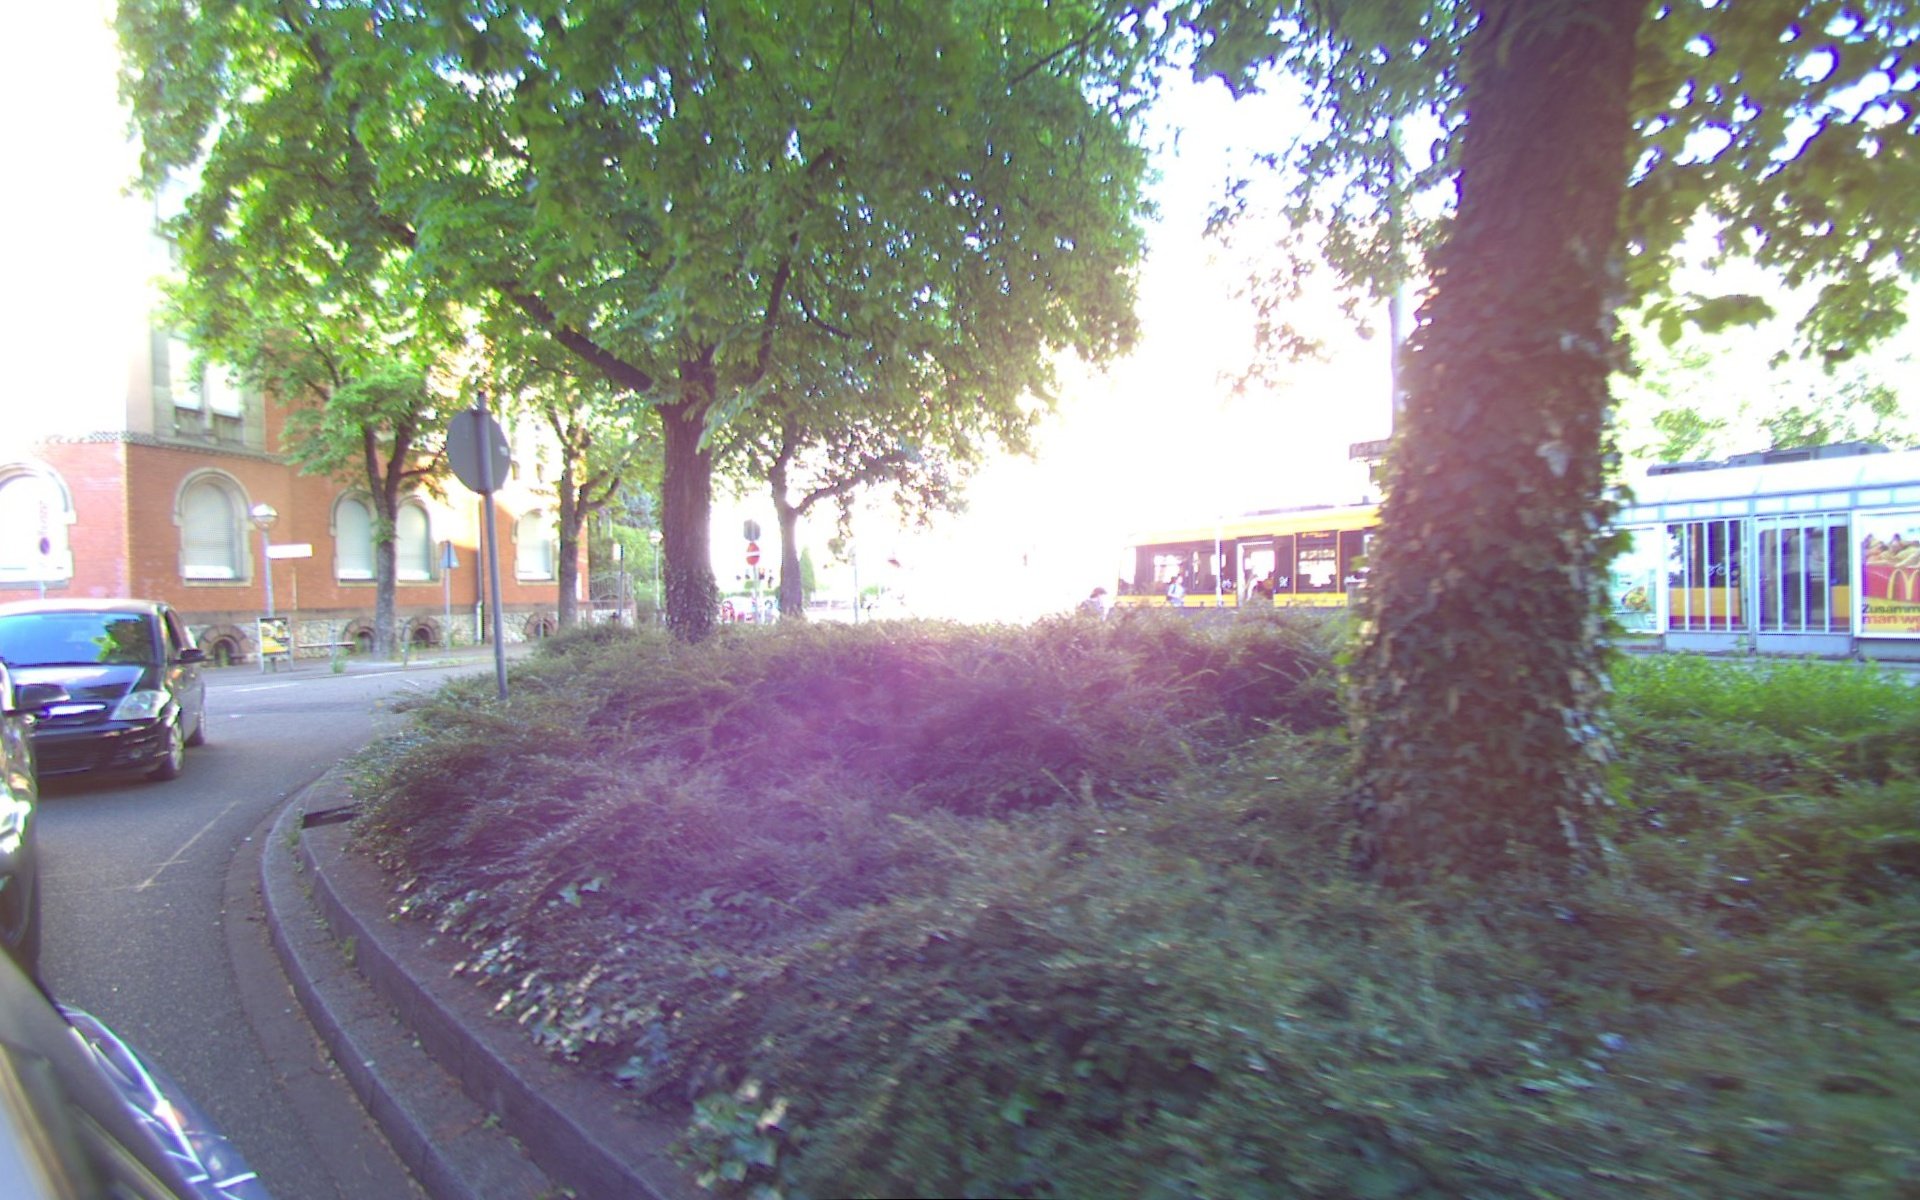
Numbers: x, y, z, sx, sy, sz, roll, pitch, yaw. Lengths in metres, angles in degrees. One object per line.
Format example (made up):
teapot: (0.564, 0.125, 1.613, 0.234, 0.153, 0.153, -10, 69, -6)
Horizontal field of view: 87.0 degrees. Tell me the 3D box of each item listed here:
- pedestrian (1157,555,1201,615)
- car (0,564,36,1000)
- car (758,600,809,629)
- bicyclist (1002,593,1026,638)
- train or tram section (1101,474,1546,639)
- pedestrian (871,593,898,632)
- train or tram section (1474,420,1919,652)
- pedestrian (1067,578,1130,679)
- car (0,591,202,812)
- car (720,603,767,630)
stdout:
pedestrian: (6.252, -0.426, 28.928, 0.713, 1.647, 0.907, -4, 2, -30)
car: (-5.563, 0.703, 4.667, 1.768, 1.590, 4.263, -1, 0, -45)
car: (-9.405, 0.764, 53.708, 1.707, 1.428, 4.013, -2, 0, -24)
bicyclist: (1.923, 0.542, 36.048, 0.588, 1.585, 0.557, -1, 0, -29)
train or tram section: (9.082, -0.936, 28.172, 2.727, 3.584, 12.719, -2, 1, -31)
pedestrian: (-3.309, 0.530, 44.488, 0.722, 1.647, 0.896, -3, 2, 27)
train or tram section: (15.609, -1.031, 17.391, 2.739, 3.614, 12.457, -2, 1, -31)
pedestrian: (2.068, 0.416, 15.138, 0.698, 1.454, 0.602, -2, 1, -25)
car: (-8.122, 0.785, 9.270, 1.653, 1.640, 3.697, -2, 1, -34)
car: (-13.065, 0.954, 60.989, 1.707, 1.427, 4.013, -2, 2, -28)
